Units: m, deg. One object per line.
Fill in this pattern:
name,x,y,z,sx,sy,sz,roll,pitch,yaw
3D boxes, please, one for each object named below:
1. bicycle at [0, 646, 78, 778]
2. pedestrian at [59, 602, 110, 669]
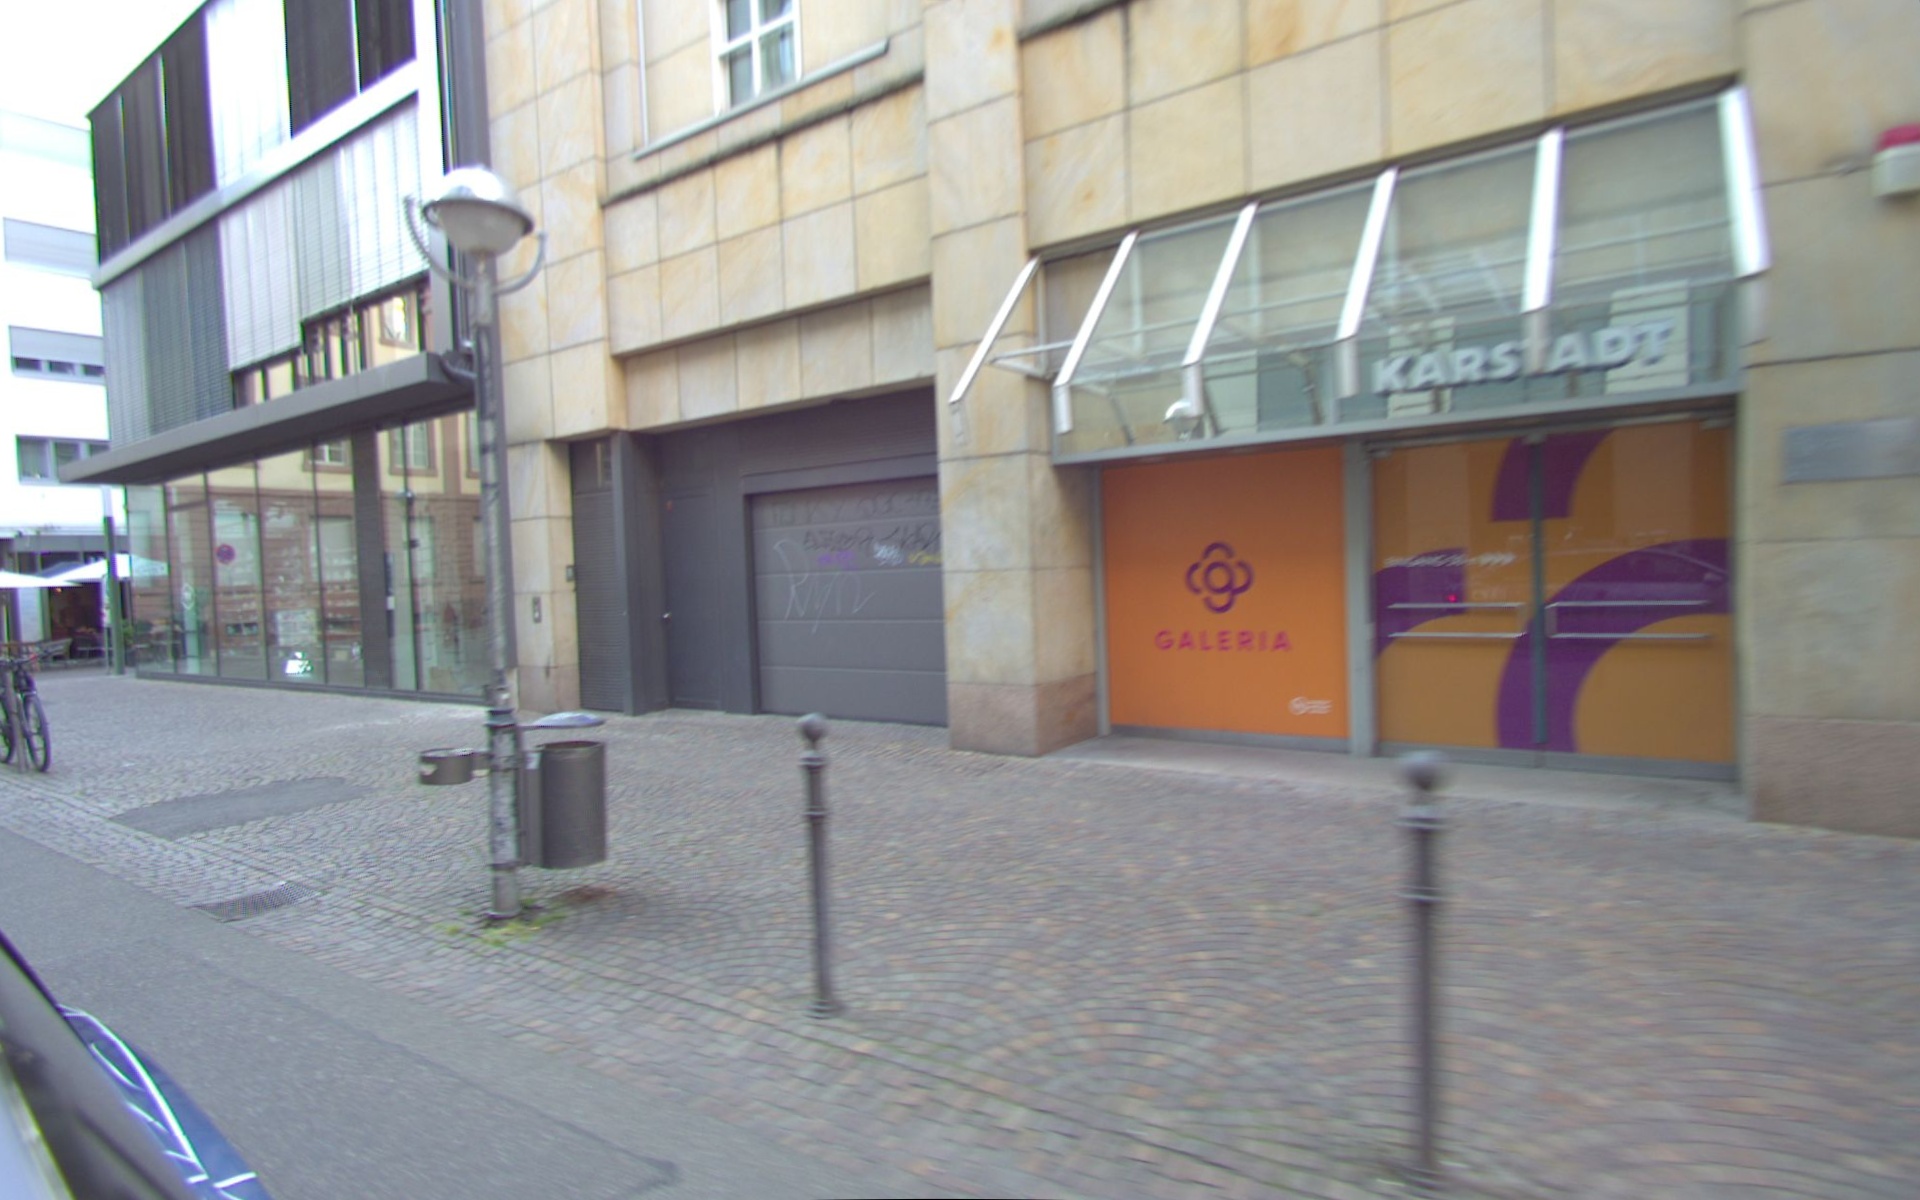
bicycle,-9.108,1.031,9.682,1.924,1.141,0.407,-2,2,32
pedestrian,-22.808,0.918,26.371,0.789,1.661,0.718,-2,1,30
